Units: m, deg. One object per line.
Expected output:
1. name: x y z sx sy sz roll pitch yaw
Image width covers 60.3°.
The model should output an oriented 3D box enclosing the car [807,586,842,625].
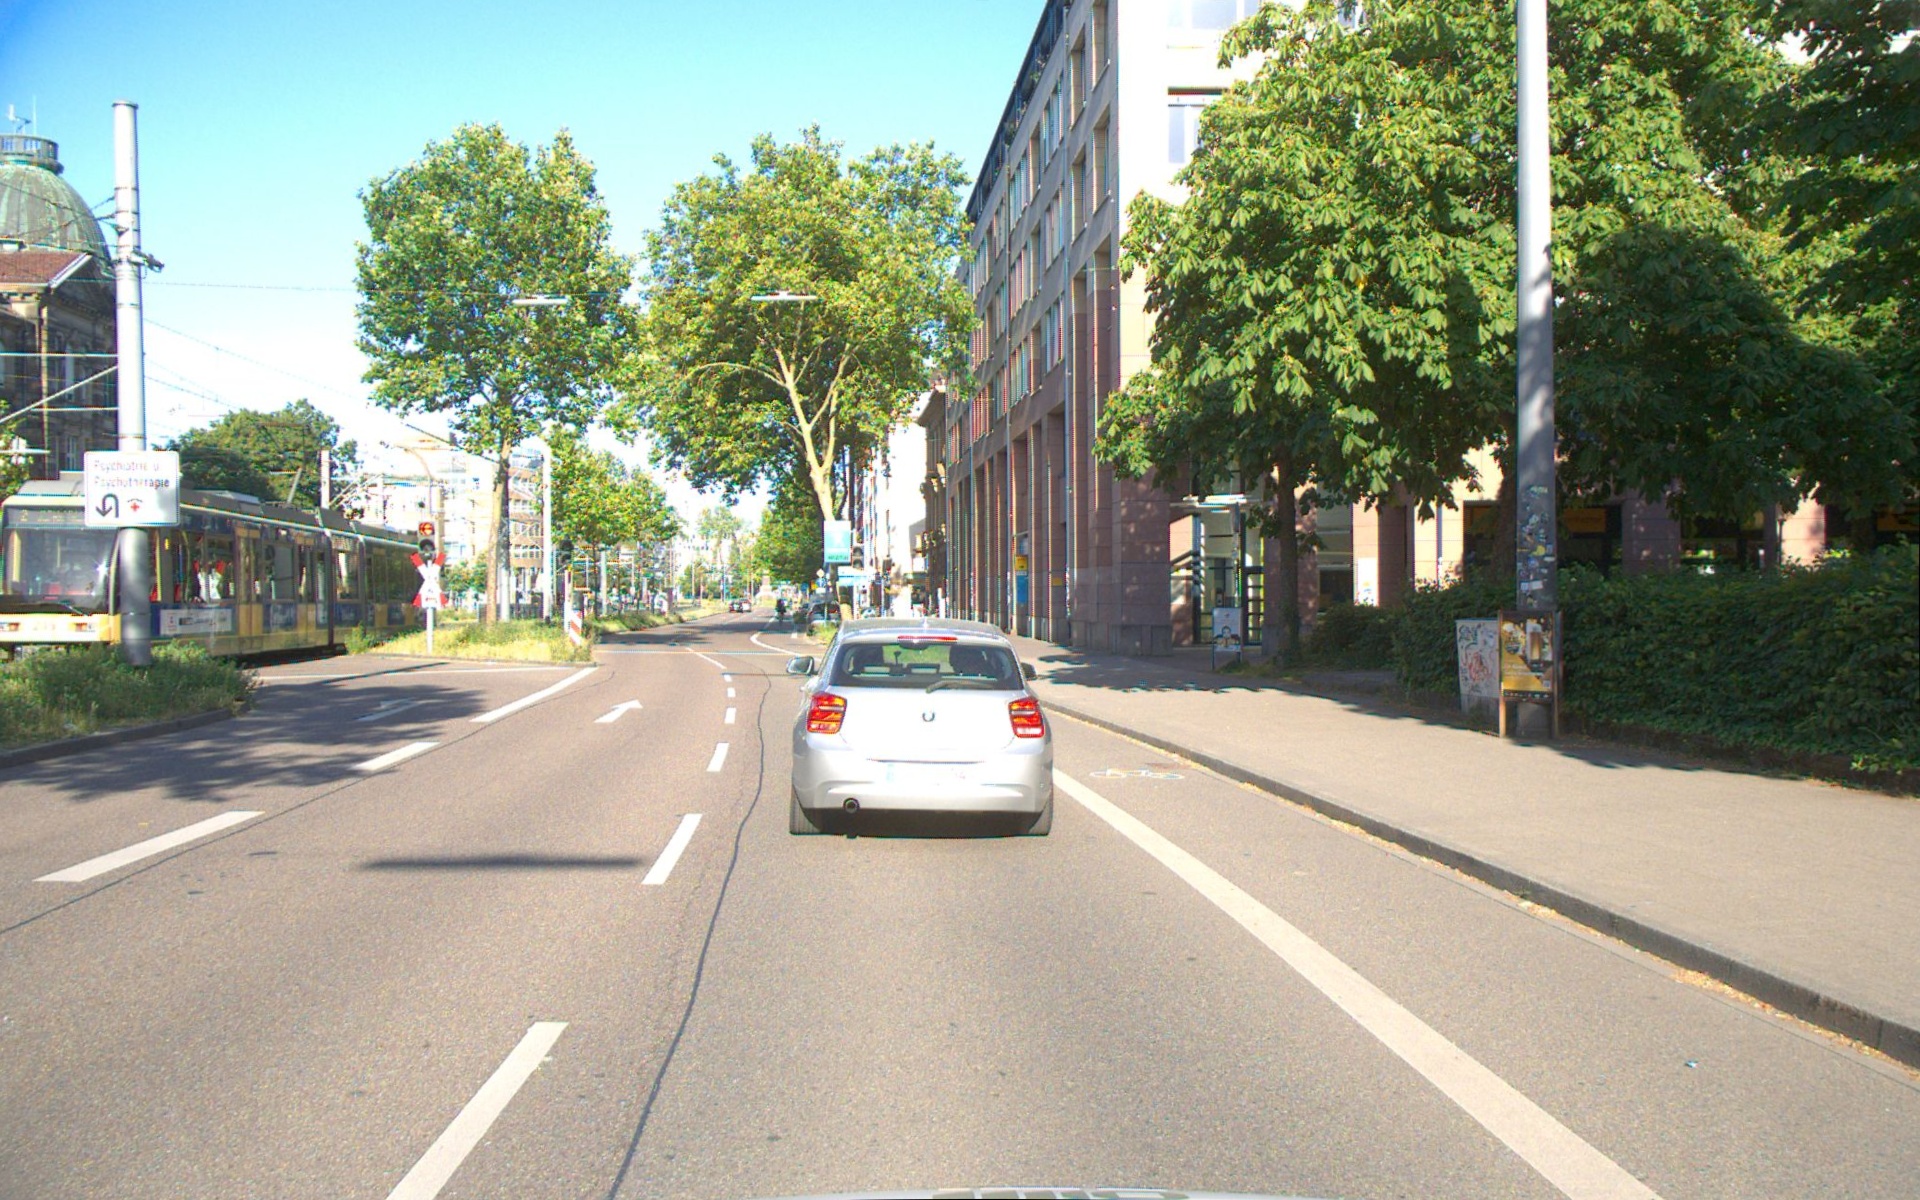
1. car: -7.577 0.297 92.011 1.820 2.049 4.717 1 0 -6

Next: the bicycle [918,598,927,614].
1. bicycle: -2.479 0.376 108.755 0.406 1.015 1.880 0 0 -6

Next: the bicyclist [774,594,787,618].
1. bicyclist: -11.776 0.363 108.520 0.770 1.558 0.894 1 0 -6

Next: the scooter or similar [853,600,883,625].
1. scooter or similar: -4.706 0.615 84.872 1.511 1.259 0.448 -1 0 -6

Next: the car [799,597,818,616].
1. car: -13.782 0.577 150.277 1.662 1.528 3.796 -3 1 -6

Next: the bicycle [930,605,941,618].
1. bicycle: -1.510 0.688 101.387 0.538 0.787 1.660 -2 0 -6

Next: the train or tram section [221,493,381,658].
1. train or tram section: -16.705 -0.590 42.190 2.900 3.965 3.858 1 0 -8

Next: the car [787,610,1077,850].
1. car: -0.288 0.815 12.143 1.762 1.439 3.997 1 0 -4

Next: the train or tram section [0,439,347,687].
1. train or tram section: -15.463 -0.572 33.213 2.874 3.879 14.246 1 0 -8

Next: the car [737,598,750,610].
1. car: -27.860 0.532 212.973 1.613 1.446 3.995 0 0 -6

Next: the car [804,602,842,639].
1. car: -6.238 0.905 75.421 1.635 1.598 4.276 1 0 -5

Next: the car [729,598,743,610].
1. car: -27.635 0.530 204.290 1.694 1.496 4.402 0 0 -8

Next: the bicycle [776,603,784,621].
1. bicycle: -11.800 0.782 108.472 0.489 1.107 1.994 1 0 -6

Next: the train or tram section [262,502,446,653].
1. train or tram section: -17.784 -0.578 49.418 2.897 3.965 10.782 1 0 -8
